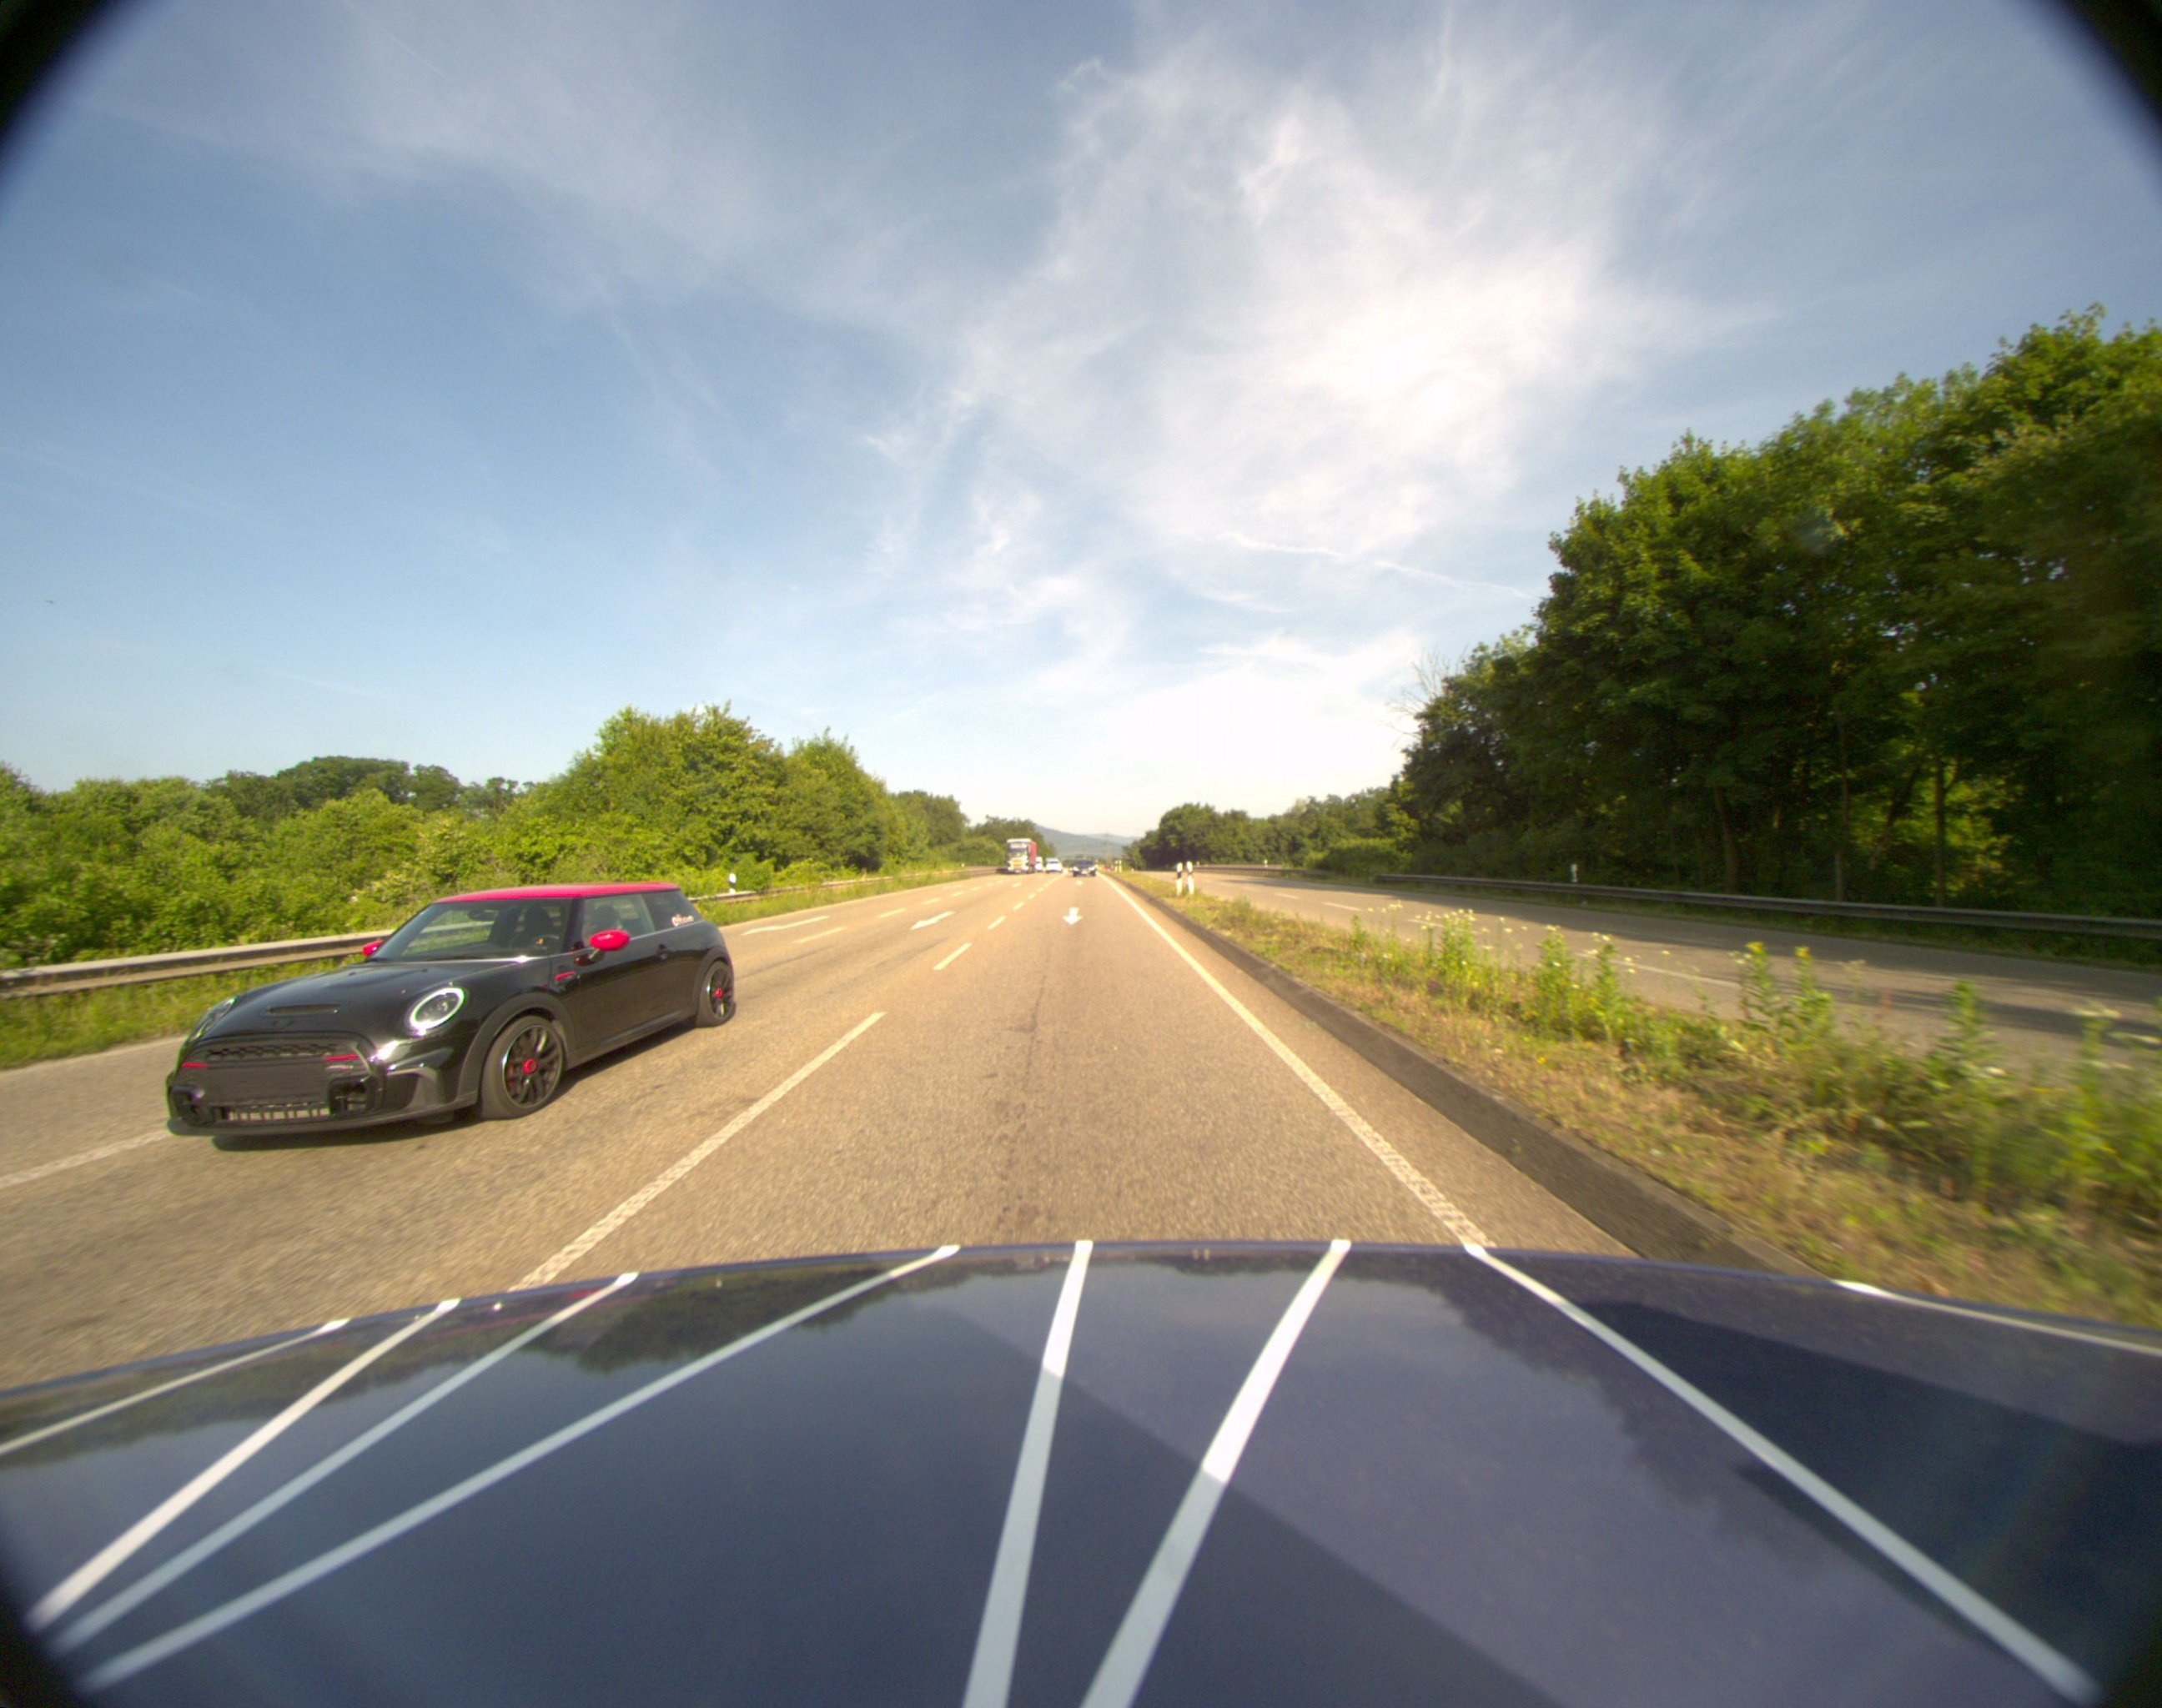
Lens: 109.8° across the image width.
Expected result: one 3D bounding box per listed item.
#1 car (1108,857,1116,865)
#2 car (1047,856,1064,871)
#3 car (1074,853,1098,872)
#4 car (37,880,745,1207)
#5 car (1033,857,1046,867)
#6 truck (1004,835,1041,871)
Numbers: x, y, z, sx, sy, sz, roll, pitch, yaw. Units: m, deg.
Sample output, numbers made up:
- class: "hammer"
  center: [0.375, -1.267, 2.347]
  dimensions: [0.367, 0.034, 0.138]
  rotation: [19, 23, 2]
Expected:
- class: "car"
  center: [7.859, 1.701, 193.039]
  dimensions: [1.999, 1.818, 4.618]
  rotation: [-2, 0, 0]
- class: "car"
  center: [-3.023, 1.095, 91.219]
  dimensions: [1.875, 1.625, 4.833]
  rotation: [0, 0, -1]
- class: "car"
  center: [0.385, 0.700, 62.919]
  dimensions: [1.861, 1.452, 4.569]
  rotation: [-2, 0, 0]
- class: "car"
  center: [-4.373, 1.037, 5.817]
  dimensions: [1.824, 1.459, 3.872]
  rotation: [-2, 0, 0]
- class: "car"
  center: [-6.834, 1.342, 125.429]
  dimensions: [1.875, 1.625, 4.833]
  rotation: [0, 0, -1]
- class: "truck"
  center: [-6.992, -0.188, 92.842]
  dimensions: [3.197, 3.995, 14.562]
  rotation: [-2, 0, 0]
